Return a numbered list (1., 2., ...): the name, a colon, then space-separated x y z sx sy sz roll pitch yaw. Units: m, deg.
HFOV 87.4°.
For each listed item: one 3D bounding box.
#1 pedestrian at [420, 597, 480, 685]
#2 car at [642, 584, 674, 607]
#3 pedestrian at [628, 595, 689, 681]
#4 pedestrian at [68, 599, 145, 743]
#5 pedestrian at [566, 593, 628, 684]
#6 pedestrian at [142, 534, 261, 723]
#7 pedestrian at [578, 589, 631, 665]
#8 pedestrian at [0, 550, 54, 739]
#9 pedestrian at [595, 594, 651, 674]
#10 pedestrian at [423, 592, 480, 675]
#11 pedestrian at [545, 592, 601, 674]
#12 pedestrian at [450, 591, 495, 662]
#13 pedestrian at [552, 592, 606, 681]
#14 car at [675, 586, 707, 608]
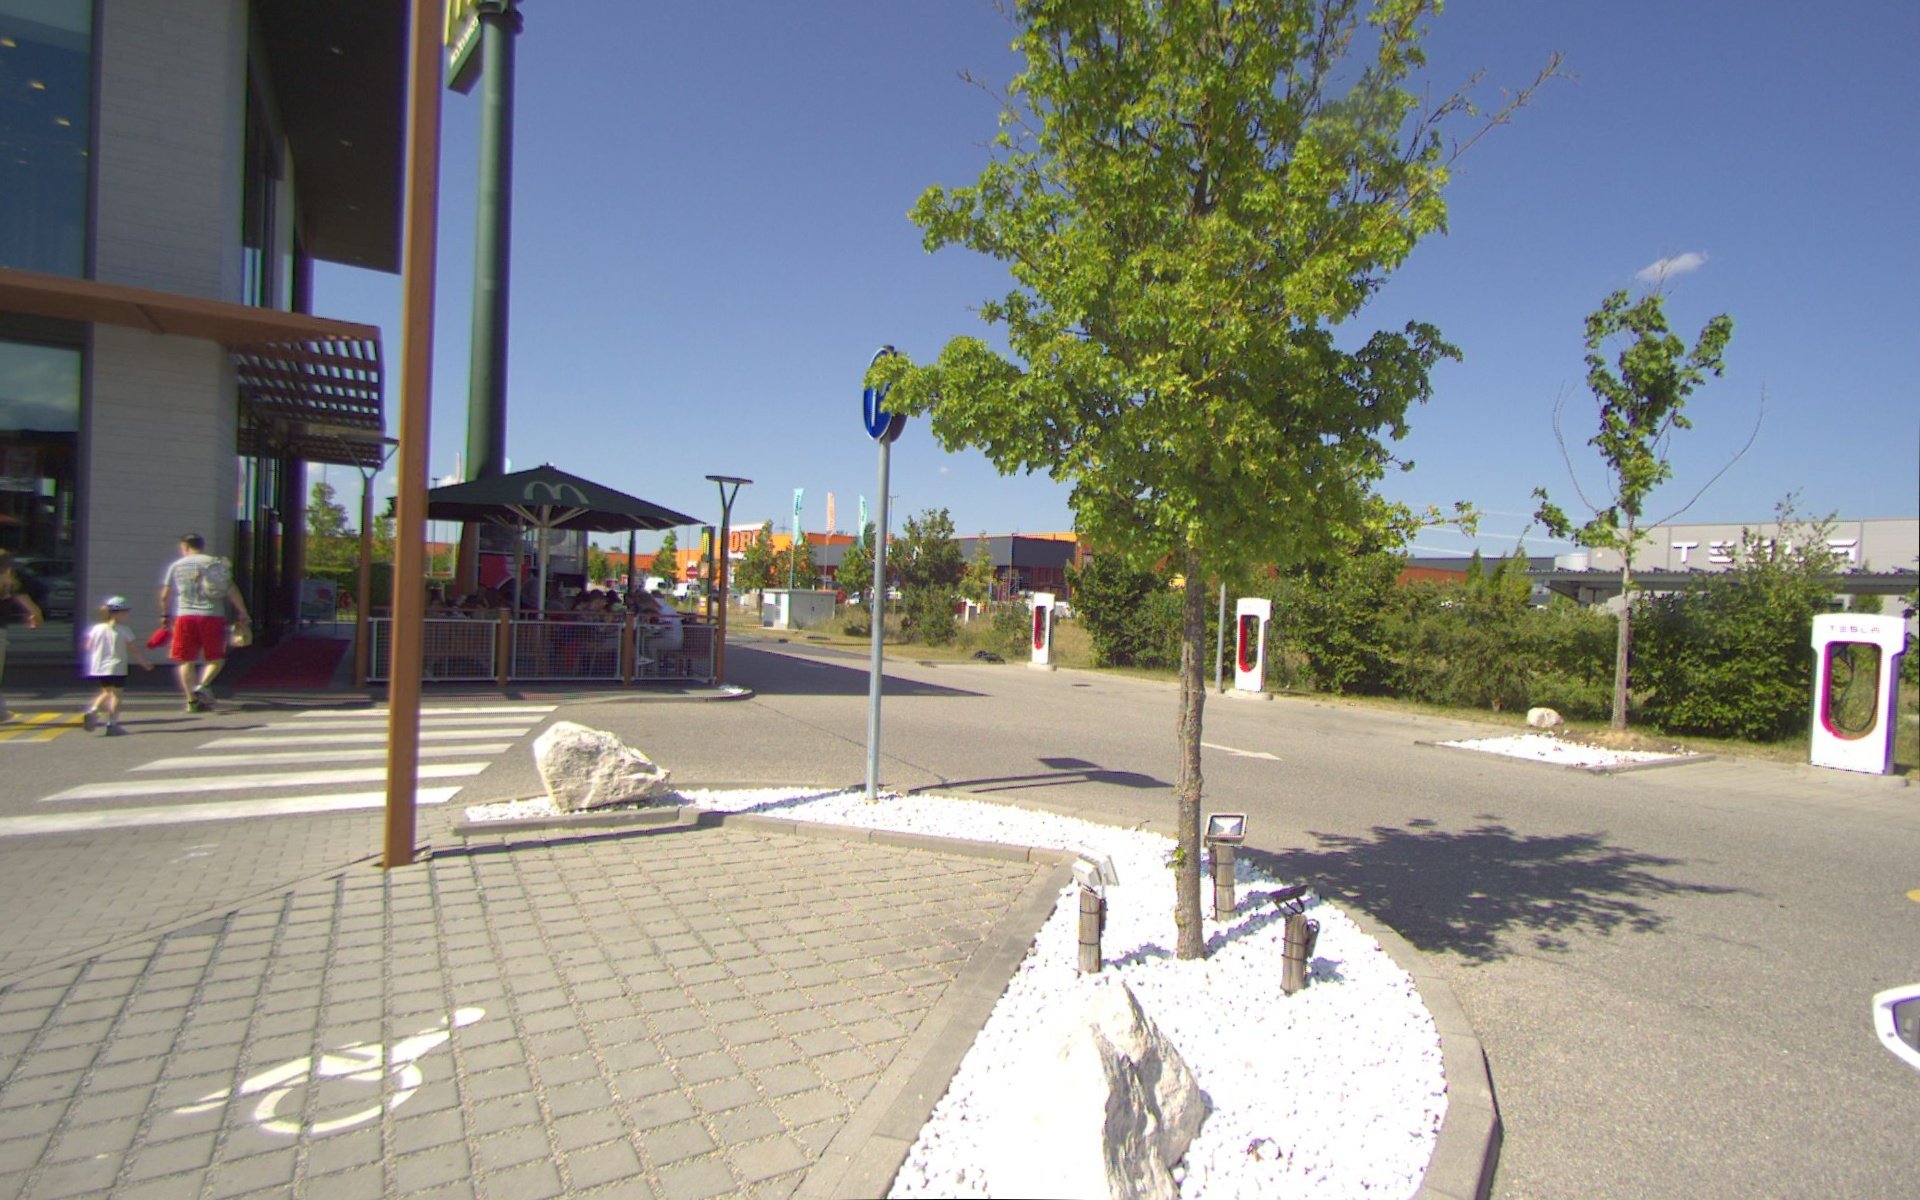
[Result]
1. pedestrian: -6.804 0.537 13.390 0.628 1.139 0.519 2 0 -34
2. car: -29.166 -0.458 96.956 1.977 2.040 3.967 3 -1 -30
3. pedestrian: -4.615 0.573 15.360 0.722 1.275 0.567 2 0 -35
4. pedestrian: -7.431 0.605 8.760 0.444 1.202 0.486 2 0 -36
5. pedestrian: -5.238 0.552 14.507 0.708 1.275 0.519 2 0 -35
6. pedestrian: -7.647 0.275 10.133 0.889 1.792 0.794 2 0 -39
7. pedestrian: -6.167 0.468 17.426 0.722 1.275 0.567 2 0 -35
8. pedestrian: -8.568 0.363 8.758 0.730 1.605 0.725 2 0 -21
9. pedestrian: -5.535 0.550 16.499 0.722 1.275 0.567 2 0 -35
10. pedestrian: -7.138 0.466 14.098 0.628 1.139 0.519 2 0 -34
11. pedestrian: -6.216 0.529 16.119 0.708 1.275 0.519 2 0 -35
12. pedestrian: -7.877 0.427 16.218 0.567 1.115 0.651 2 0 -31
13. pedestrian: -5.662 0.533 14.927 0.628 1.275 0.519 2 0 -34
14. car: -26.511 -0.306 99.019 1.977 2.040 3.967 3 -1 -30
